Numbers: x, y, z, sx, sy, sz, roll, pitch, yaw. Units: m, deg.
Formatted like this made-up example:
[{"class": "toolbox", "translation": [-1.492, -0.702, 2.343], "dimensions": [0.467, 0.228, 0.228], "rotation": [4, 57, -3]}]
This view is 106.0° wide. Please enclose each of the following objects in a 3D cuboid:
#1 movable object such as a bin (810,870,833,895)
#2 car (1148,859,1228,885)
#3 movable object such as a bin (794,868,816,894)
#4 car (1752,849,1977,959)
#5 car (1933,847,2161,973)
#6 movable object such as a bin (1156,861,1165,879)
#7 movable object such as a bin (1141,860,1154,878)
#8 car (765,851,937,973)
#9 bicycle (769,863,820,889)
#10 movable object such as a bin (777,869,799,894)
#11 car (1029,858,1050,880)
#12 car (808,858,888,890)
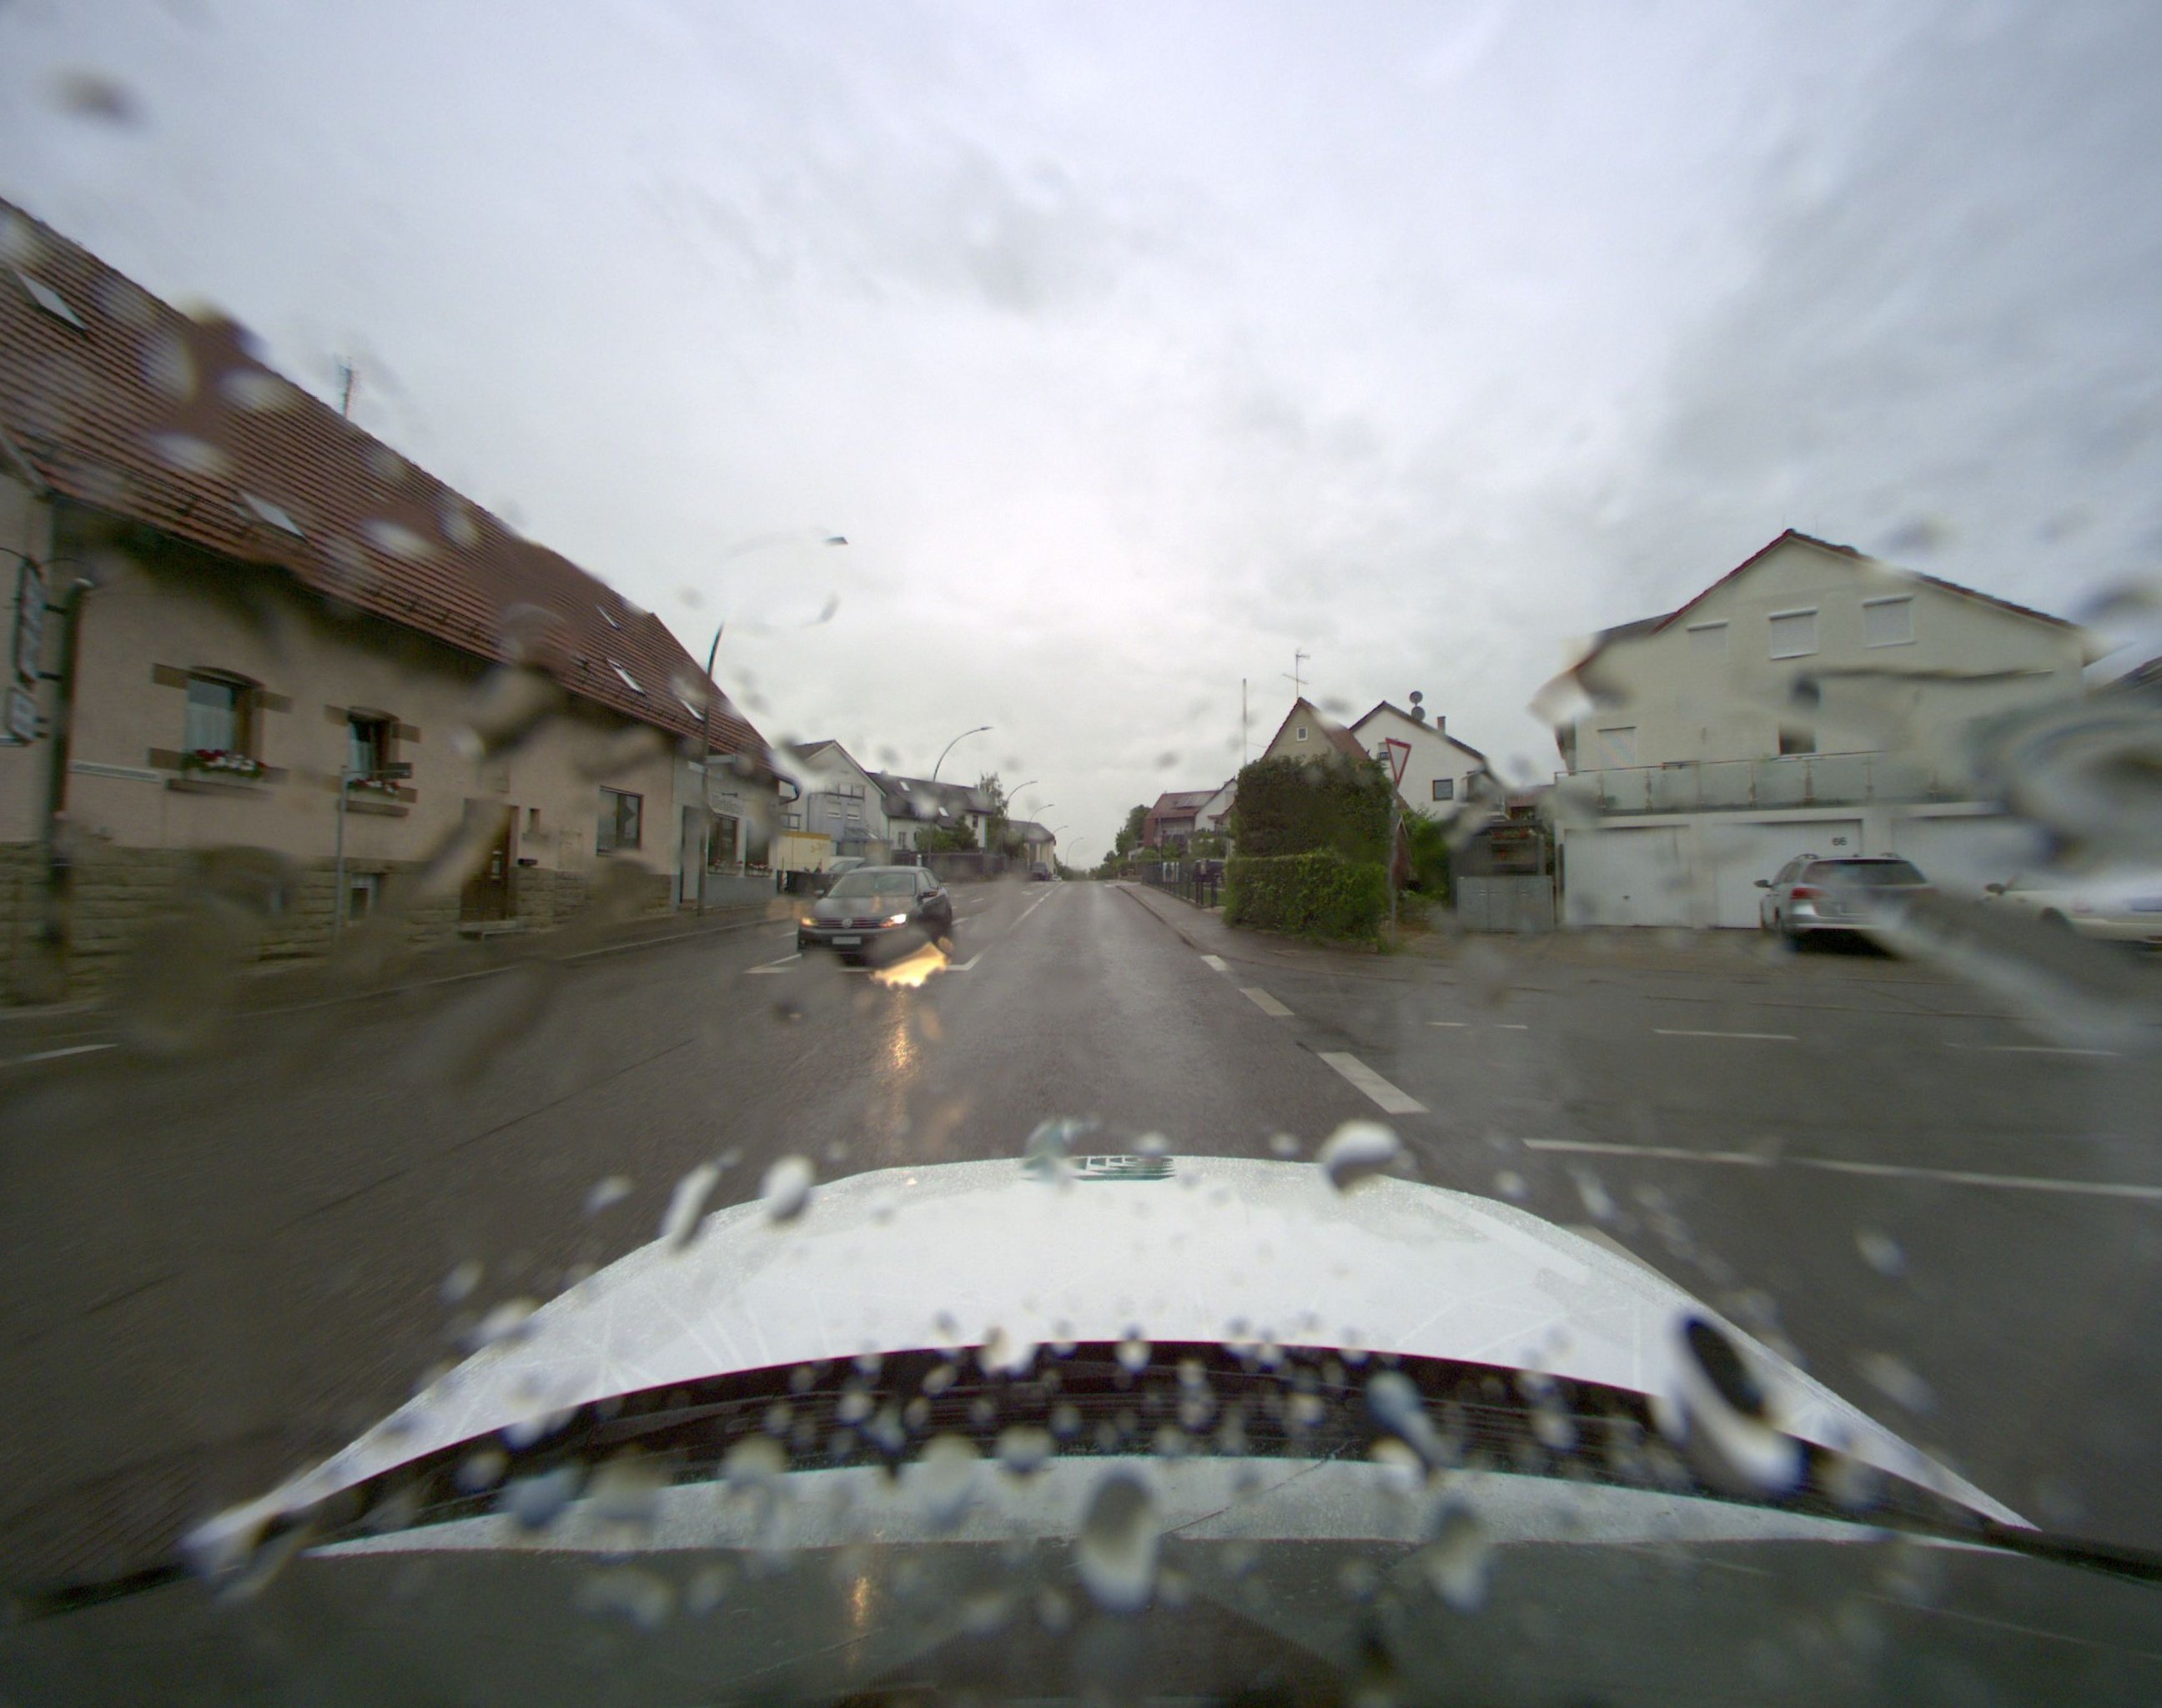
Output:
[{"class": "movable object such as a bin", "translation": [-10.941, 1.191, 34.361], "dimensions": [0.633, 1.032, 0.676], "rotation": [-2, -1, 14]}, {"class": "car", "translation": [6.583, 1.129, 50.040], "dimensions": [4.521, 1.384, 2.009], "rotation": [-2, 0, 17]}, {"class": "movable object such as a bin", "translation": [-11.698, 1.139, 34.515], "dimensions": [0.633, 1.032, 0.607], "rotation": [-2, -1, 14]}, {"class": "car", "translation": [12.293, 0.687, 13.101], "dimensions": [1.974, 1.398, 4.177], "rotation": [-2, 0, 35]}, {"class": "car", "translation": [14.490, 0.685, 11.863], "dimensions": [1.974, 1.530, 4.026], "rotation": [0, 1, 33]}, {"class": "movable object such as a bin", "translation": [4.579, 0.917, 47.090], "dimensions": [0.440, 1.021, 0.526], "rotation": [-2, -1, 9]}, {"class": "movable object such as a bin", "translation": [3.866, 0.877, 47.278], "dimensions": [0.525, 1.021, 0.737], "rotation": [-2, -1, 19]}, {"class": "car", "translation": [-3.443, 0.780, 13.030], "dimensions": [1.942, 1.574, 4.216], "rotation": [-1, 0, -6]}, {"class": "bicycle", "translation": [-13.037, 1.004, 37.121], "dimensions": [2.081, 1.114, 0.740], "rotation": [2, -2, 16]}, {"class": "movable object such as a bin", "translation": [-12.614, 1.193, 35.054], "dimensions": [0.633, 1.032, 0.607], "rotation": [1, 0, 14]}, {"class": "car", "translation": [-5.287, 1.939, 104.656], "dimensions": [2.085, 2.649, 5.922], "rotation": [1, -2, 3]}, {"class": "car", "translation": [-11.385, 0.940, 40.096], "dimensions": [1.886, 1.442, 3.846], "rotation": [1, 0, 19]}]
